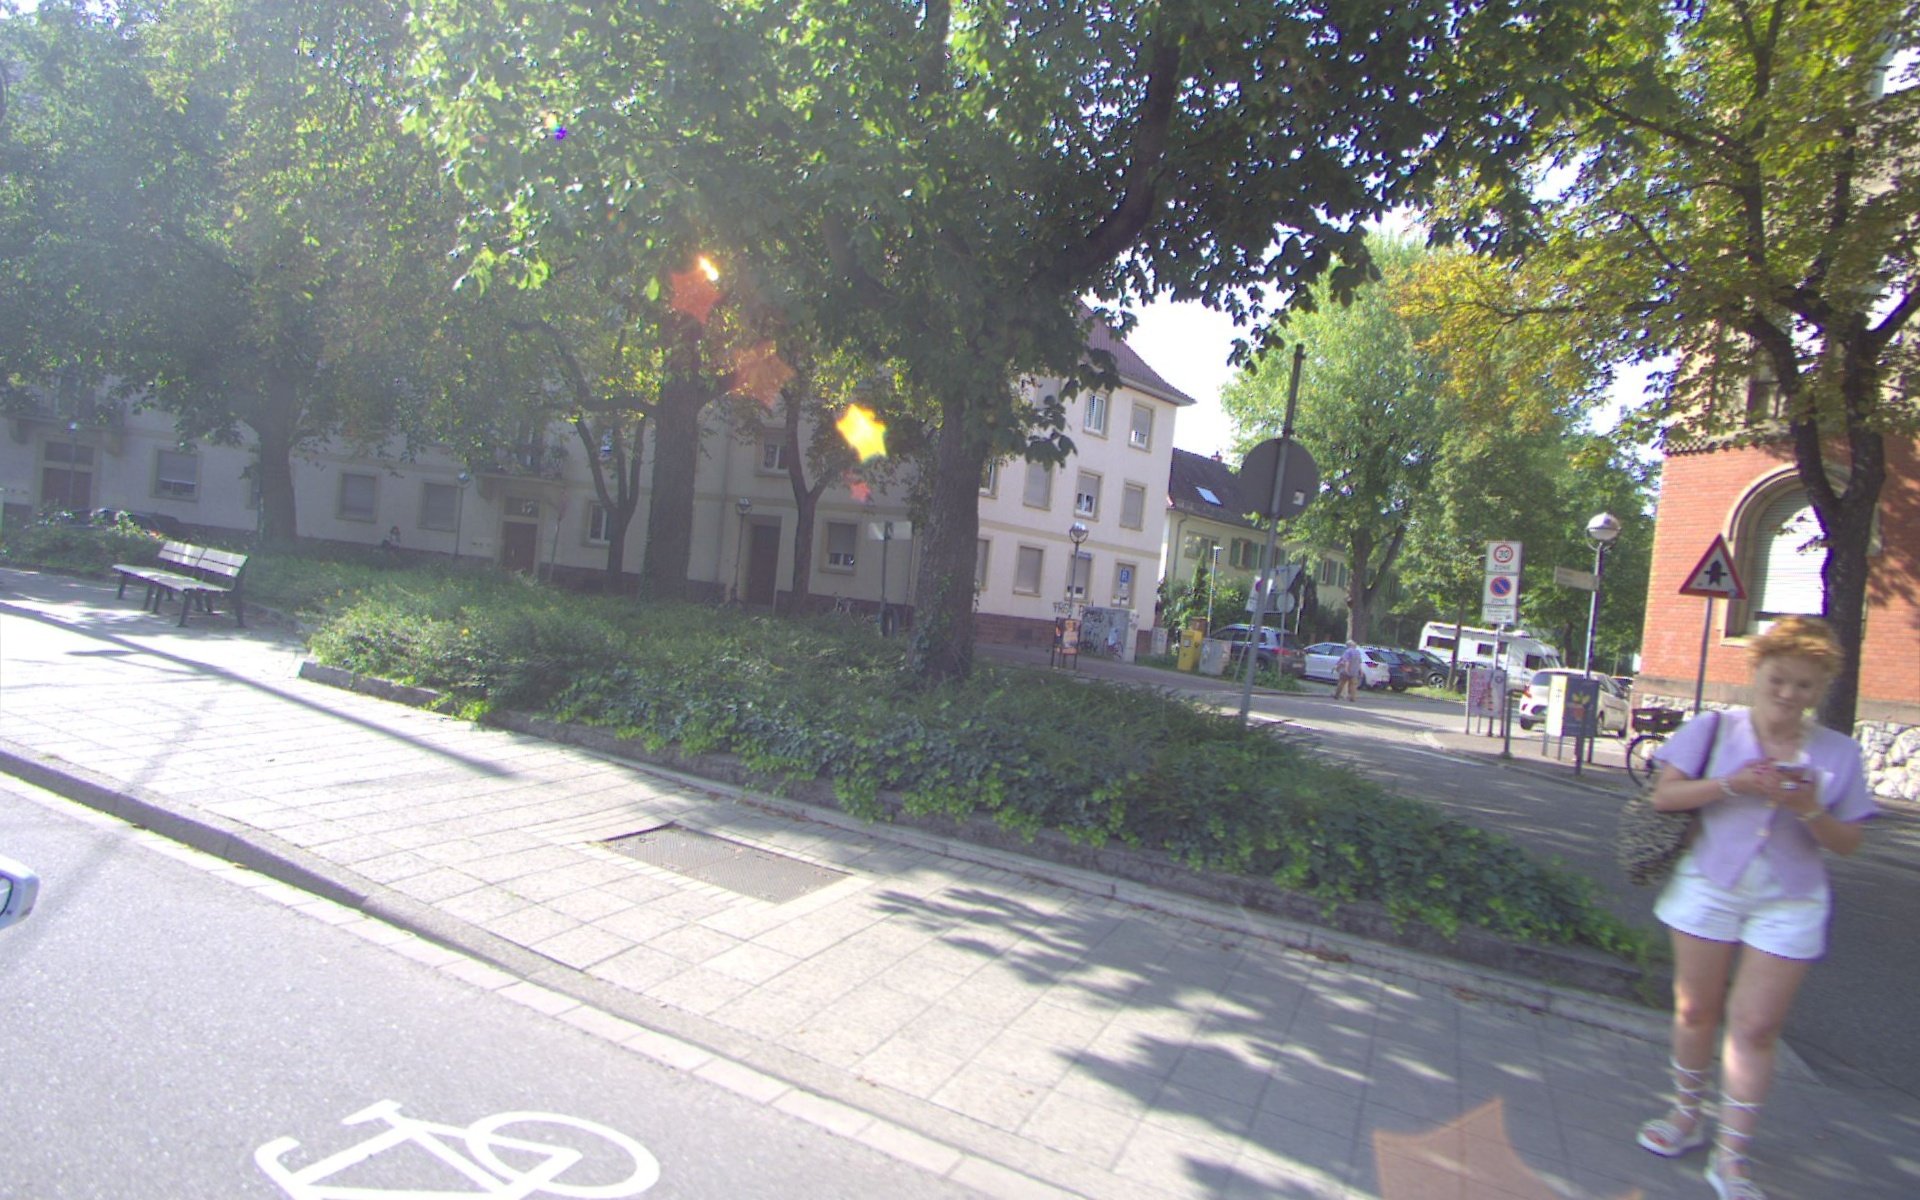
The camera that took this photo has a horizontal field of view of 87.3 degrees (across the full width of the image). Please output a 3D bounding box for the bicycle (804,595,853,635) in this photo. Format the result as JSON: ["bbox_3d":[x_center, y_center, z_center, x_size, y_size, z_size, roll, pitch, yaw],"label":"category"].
[{"bbox_3d":[-3.810,0.459,29.286,0.597,1.071,1.870,6,0,16],"label":"bicycle"}]

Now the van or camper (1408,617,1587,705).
[{"bbox_3d":[25.248,2.817,47.574,1.989,2.916,6.853,9,1,-44],"label":"van or camper"}]

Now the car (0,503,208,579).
[{"bbox_3d":[-22.579,-1.531,26.621,3.823,1.470,1.748,7,2,-9],"label":"car"}]

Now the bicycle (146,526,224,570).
[{"bbox_3d":[-24.262,-1.615,31.509,1.807,1.071,0.608,8,0,-6],"label":"bicycle"}]

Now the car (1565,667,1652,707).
[{"bbox_3d":[38.561,5.151,59.886,3.964,1.612,1.654,10,3,41],"label":"car"}]

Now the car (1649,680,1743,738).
[{"bbox_3d":[23.991,3.544,32.744,3.973,1.586,1.603,7,0,-43],"label":"car"}]

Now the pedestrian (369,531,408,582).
[{"bbox_3d":[-20.260,-1.532,35.680,0.850,1.692,0.688,6,1,-1],"label":"pedestrian"}]

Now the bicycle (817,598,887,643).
[{"bbox_3d":[-3.017,0.586,28.287,1.824,1.071,0.602,6,0,-38],"label":"bicycle"}]

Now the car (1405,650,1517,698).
[{"bbox_3d":[21.941,3.226,44.143,3.964,1.386,1.654,10,3,41],"label":"car"}]

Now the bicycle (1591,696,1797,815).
[{"bbox_3d":[8.598,1.797,11.884,0.600,1.070,1.831,9,-2,-22],"label":"bicycle"}]

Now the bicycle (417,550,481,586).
[{"bbox_3d":[-17.430,-1.079,34.328,1.873,1.019,0.534,6,1,6],"label":"bicycle"}]

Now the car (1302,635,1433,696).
[{"bbox_3d":[14.796,2.373,36.668,3.964,1.481,1.654,10,3,41],"label":"car"}]

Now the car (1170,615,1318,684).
[{"bbox_3d":[8.961,1.547,32.004,1.651,1.659,4.144,6,0,-43],"label":"car"}]

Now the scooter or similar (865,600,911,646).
[{"bbox_3d":[-1.993,0.640,27.901,1.100,1.172,0.438,6,1,-29],"label":"scooter or similar"}]

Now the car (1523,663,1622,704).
[{"bbox_3d":[31.425,4.278,51.693,3.964,1.386,1.654,10,3,41],"label":"car"}]

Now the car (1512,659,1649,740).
[{"bbox_3d":[14.606,2.344,23.601,3.973,1.586,1.603,7,0,-43],"label":"car"}]

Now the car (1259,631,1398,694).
[{"bbox_3d":[12.929,2.186,35.414,4.135,1.481,1.654,10,3,41],"label":"car"}]

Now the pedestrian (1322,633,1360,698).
[{"bbox_3d":[10.909,1.869,28.815,0.597,1.786,0.589,6,1,-14],"label":"pedestrian"}]

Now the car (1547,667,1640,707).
[{"bbox_3d":[34.789,4.777,55.325,3.964,1.454,1.654,10,3,41],"label":"car"}]

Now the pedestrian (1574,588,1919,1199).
[{"bbox_3d":[2.377,0.874,3.086,0.651,1.739,0.542,7,1,35],"label":"pedestrian"}]

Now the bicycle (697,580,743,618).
[{"bbox_3d":[-7.621,-0.030,31.974,1.463,1.073,0.416,6,1,30],"label":"bicycle"}]

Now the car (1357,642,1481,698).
[{"bbox_3d":[18.040,2.738,39.646,3.964,1.481,1.654,10,3,41],"label":"car"}]

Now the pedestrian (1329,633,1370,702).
[{"bbox_3d":[10.665,1.833,27.565,0.597,1.786,0.653,6,1,-12],"label":"pedestrian"}]

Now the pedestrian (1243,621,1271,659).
[{"bbox_3d":[13.105,1.786,44.386,0.853,1.566,0.760,5,1,-45],"label":"pedestrian"}]
